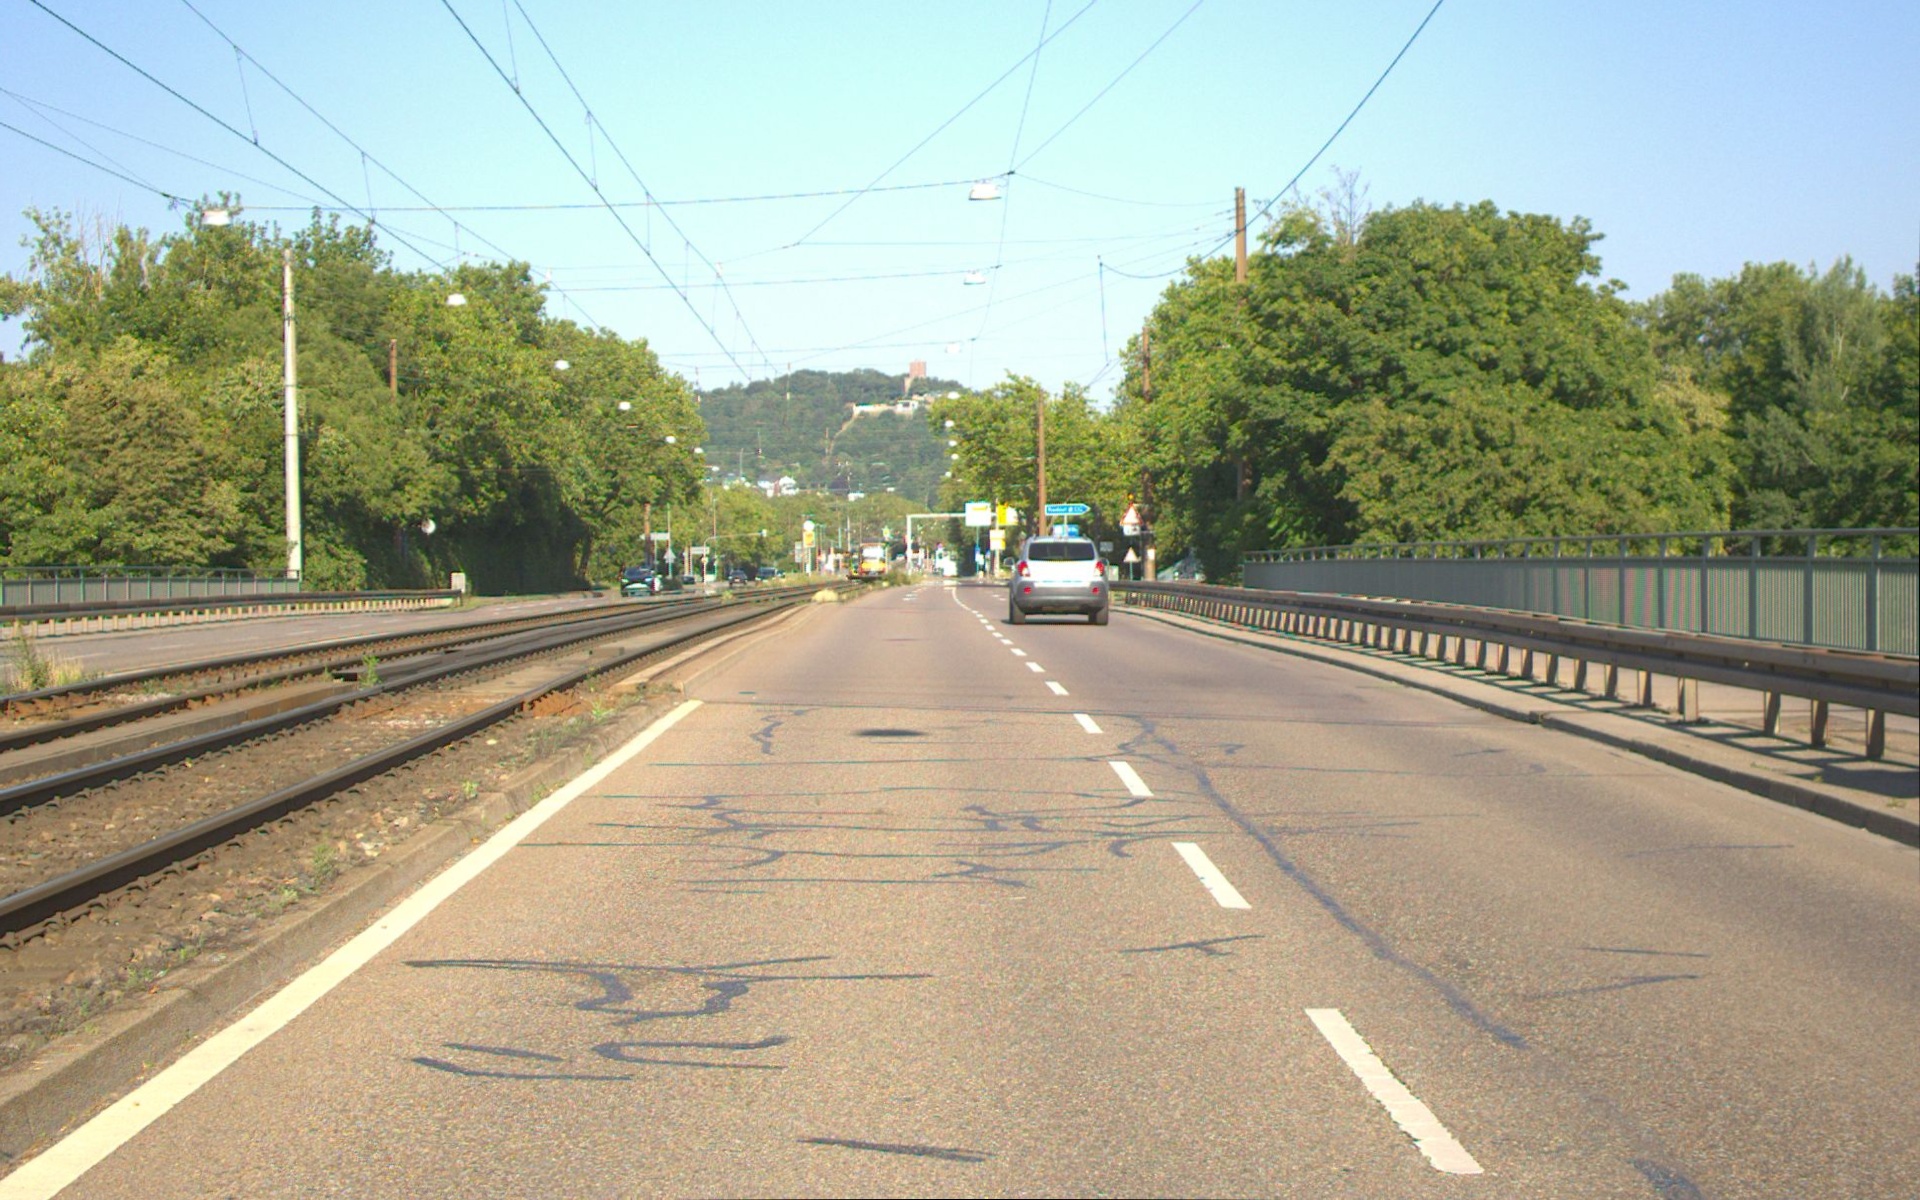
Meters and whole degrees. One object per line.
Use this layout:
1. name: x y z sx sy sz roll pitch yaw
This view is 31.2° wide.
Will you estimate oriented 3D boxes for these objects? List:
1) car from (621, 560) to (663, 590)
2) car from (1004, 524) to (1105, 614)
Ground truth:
1. car: -17.857 -1.435 193.165 1.993 1.612 4.000 1 1 -1
2. car: 1.847 -0.621 66.832 1.888 1.688 4.256 0 1 2
